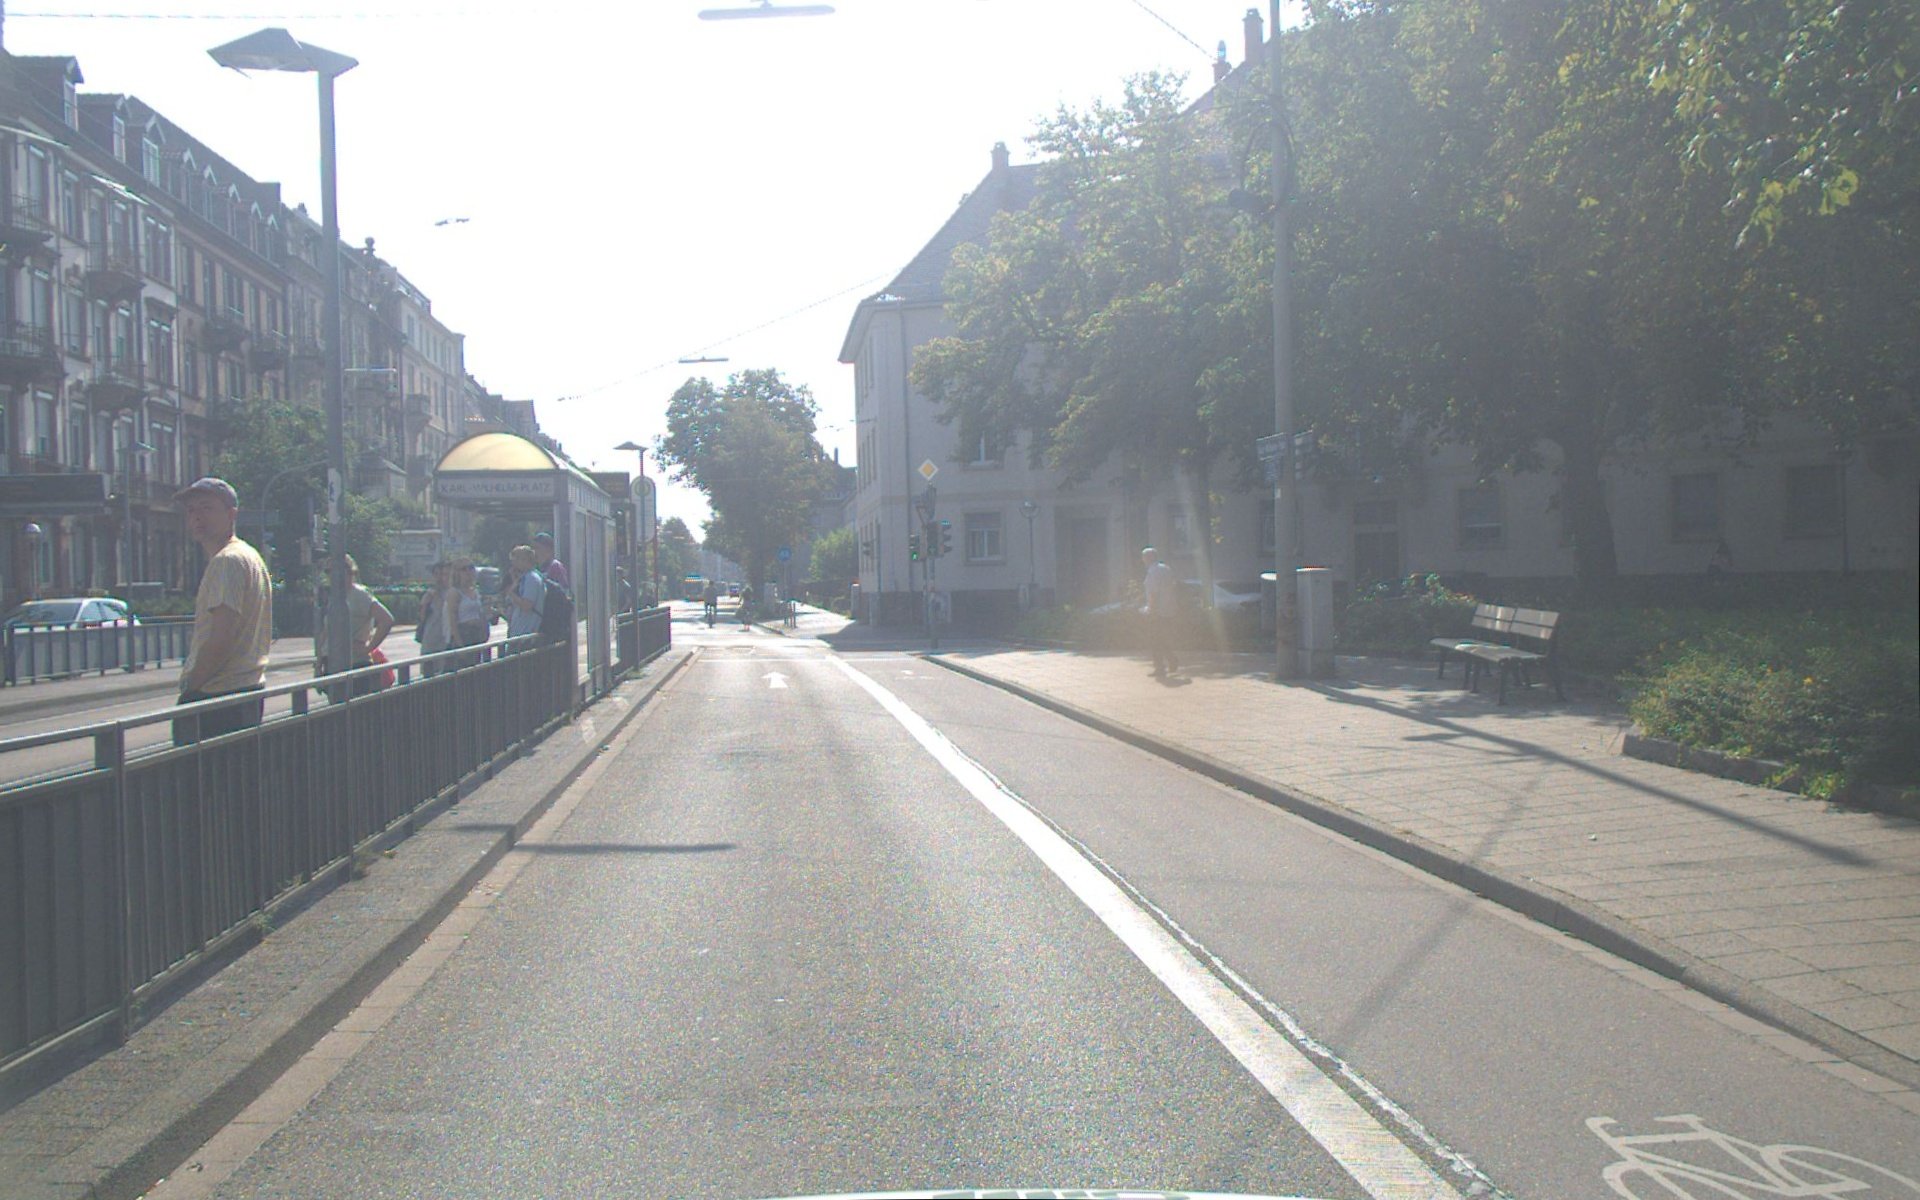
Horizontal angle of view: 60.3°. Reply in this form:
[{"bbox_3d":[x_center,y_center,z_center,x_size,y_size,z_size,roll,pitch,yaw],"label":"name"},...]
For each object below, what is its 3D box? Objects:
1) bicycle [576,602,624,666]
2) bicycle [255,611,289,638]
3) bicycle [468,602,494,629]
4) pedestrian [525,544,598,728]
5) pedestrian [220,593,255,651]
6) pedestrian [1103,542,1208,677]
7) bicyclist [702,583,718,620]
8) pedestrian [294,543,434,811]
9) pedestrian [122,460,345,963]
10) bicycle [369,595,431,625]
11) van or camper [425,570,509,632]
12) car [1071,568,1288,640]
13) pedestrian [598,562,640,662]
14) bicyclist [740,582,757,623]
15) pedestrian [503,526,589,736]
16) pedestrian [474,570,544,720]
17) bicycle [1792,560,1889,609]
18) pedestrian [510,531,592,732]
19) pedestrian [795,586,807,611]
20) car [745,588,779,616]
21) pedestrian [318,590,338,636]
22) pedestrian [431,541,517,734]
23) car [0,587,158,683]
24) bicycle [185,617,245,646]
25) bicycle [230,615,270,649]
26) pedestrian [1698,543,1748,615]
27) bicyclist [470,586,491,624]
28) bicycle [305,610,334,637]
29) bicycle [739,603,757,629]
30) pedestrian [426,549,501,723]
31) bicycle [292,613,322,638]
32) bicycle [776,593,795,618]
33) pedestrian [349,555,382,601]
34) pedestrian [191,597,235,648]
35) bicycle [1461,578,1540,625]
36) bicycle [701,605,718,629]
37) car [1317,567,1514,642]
[{"bbox_3d":[-6.644,0.613,30.577,0.463,1.123,1.737,-2,0,1],"label":"bicycle"},{"bbox_3d":[-24.082,0.843,57.943,0.516,0.875,1.826,-1,1,-4],"label":"bicycle"},{"bbox_3d":[-20.844,0.683,71.994,0.671,1.122,2.067,-1,0,-5],"label":"bicycle"},{"bbox_3d":[-3.990,0.348,16.606,0.577,1.794,0.606,-2,0,-5],"label":"pedestrian"},{"bbox_3d":[-23.385,0.692,53.549,0.714,1.837,1.091,-1,0,-9],"label":"pedestrian"},{"bbox_3d":[2.714,0.122,22.870,0.949,1.754,1.078,-4,1,33],"label":"pedestrian"},{"bbox_3d":[-9.692,0.058,64.079,0.615,1.425,0.928,0,0,-8],"label":"bicyclist"},{"bbox_3d":[-3.963,0.482,11.003,0.801,1.683,0.862,-2,0,-21],"label":"pedestrian"},{"bbox_3d":[-2.798,0.407,6.427,0.547,1.834,0.676,-2,0,-4],"label":"pedestrian"},{"bbox_3d":[-28.063,0.486,82.914,2.826,1.480,0.994,-1,0,-14],"label":"bicycle"},{"bbox_3d":[-22.805,0.037,76.798,2.009,2.690,6.089,-2,0,0],"label":"van or camper"},{"bbox_3d":[5.278,0.113,40.064,4.851,1.494,1.872,-2,3,34],"label":"car"},{"bbox_3d":[-6.287,0.219,30.530,0.677,1.797,0.795,-1,0,-9],"label":"pedestrian"},{"bbox_3d":[-7.862,0.101,61.489,0.642,1.500,0.907,0,0,-8],"label":"bicyclist"},{"bbox_3d":[-3.811,0.275,15.250,0.624,1.880,0.633,-2,0,-5],"label":"pedestrian"},{"bbox_3d":[-4.839,0.474,17.777,0.577,1.571,0.606,-2,0,-5],"label":"pedestrian"},{"bbox_3d":[19.162,-0.333,36.046,0.526,1.024,1.892,-2,0,-27],"label":"bicycle"},{"bbox_3d":[-3.923,0.295,15.911,0.624,1.880,0.633,-2,0,-5],"label":"pedestrian"},{"bbox_3d":[-11.352,-0.102,117.774,0.737,1.779,0.878,-1,0,-1],"label":"pedestrian"},{"bbox_3d":[-12.081,0.104,101.198,1.612,1.567,3.841,-4,0,-2],"label":"car"},{"bbox_3d":[-24.126,0.493,63.130,0.627,1.707,0.630,-2,0,-19],"label":"pedestrian"},{"bbox_3d":[-4.627,0.345,15.766,0.624,1.778,0.633,-2,0,-5],"label":"pedestrian"},{"bbox_3d":[-17.328,0.620,31.791,1.955,1.679,4.477,-2,1,-6],"label":"car"},{"bbox_3d":[-24.384,1.028,54.165,0.516,0.875,1.824,-1,1,31],"label":"bicycle"},{"bbox_3d":[-22.965,1.031,53.508,0.607,1.024,2.147,-2,0,-7],"label":"bicycle"},{"bbox_3d":[18.354,-0.504,39.791,0.680,1.700,0.856,-2,0,-34],"label":"pedestrian"},{"bbox_3d":[-20.889,0.207,72.047,0.660,1.642,1.043,-1,0,-5],"label":"bicyclist"},{"bbox_3d":[-24.211,0.890,62.564,0.516,0.943,1.701,-1,1,-4],"label":"bicycle"},{"bbox_3d":[-7.873,0.588,61.500,0.642,0.925,1.772,0,0,-8],"label":"bicycle"},{"bbox_3d":[-5.125,0.359,17.099,0.577,1.751,0.606,-2,0,-5],"label":"pedestrian"},{"bbox_3d":[-24.030,0.923,60.881,0.516,0.875,1.701,-1,1,-4],"label":"bicycle"},{"bbox_3d":[-8.220,0.242,77.807,0.757,1.123,2.328,-2,0,-10],"label":"bicycle"},{"bbox_3d":[-23.511,-0.858,65.393,0.887,1.797,1.185,-1,0,-4],"label":"pedestrian"},{"bbox_3d":[-24.059,0.714,53.276,0.823,1.598,0.945,-1,0,26],"label":"pedestrian"},{"bbox_3d":[13.147,0.032,40.277,0.602,1.076,1.814,-2,2,-39],"label":"bicycle"},{"bbox_3d":[-9.697,0.650,64.065,0.614,0.925,1.522,0,0,-8],"label":"bicycle"},{"bbox_3d":[9.898,0.096,36.114,1.737,1.476,3.830,-4,2,-41],"label":"car"}]
